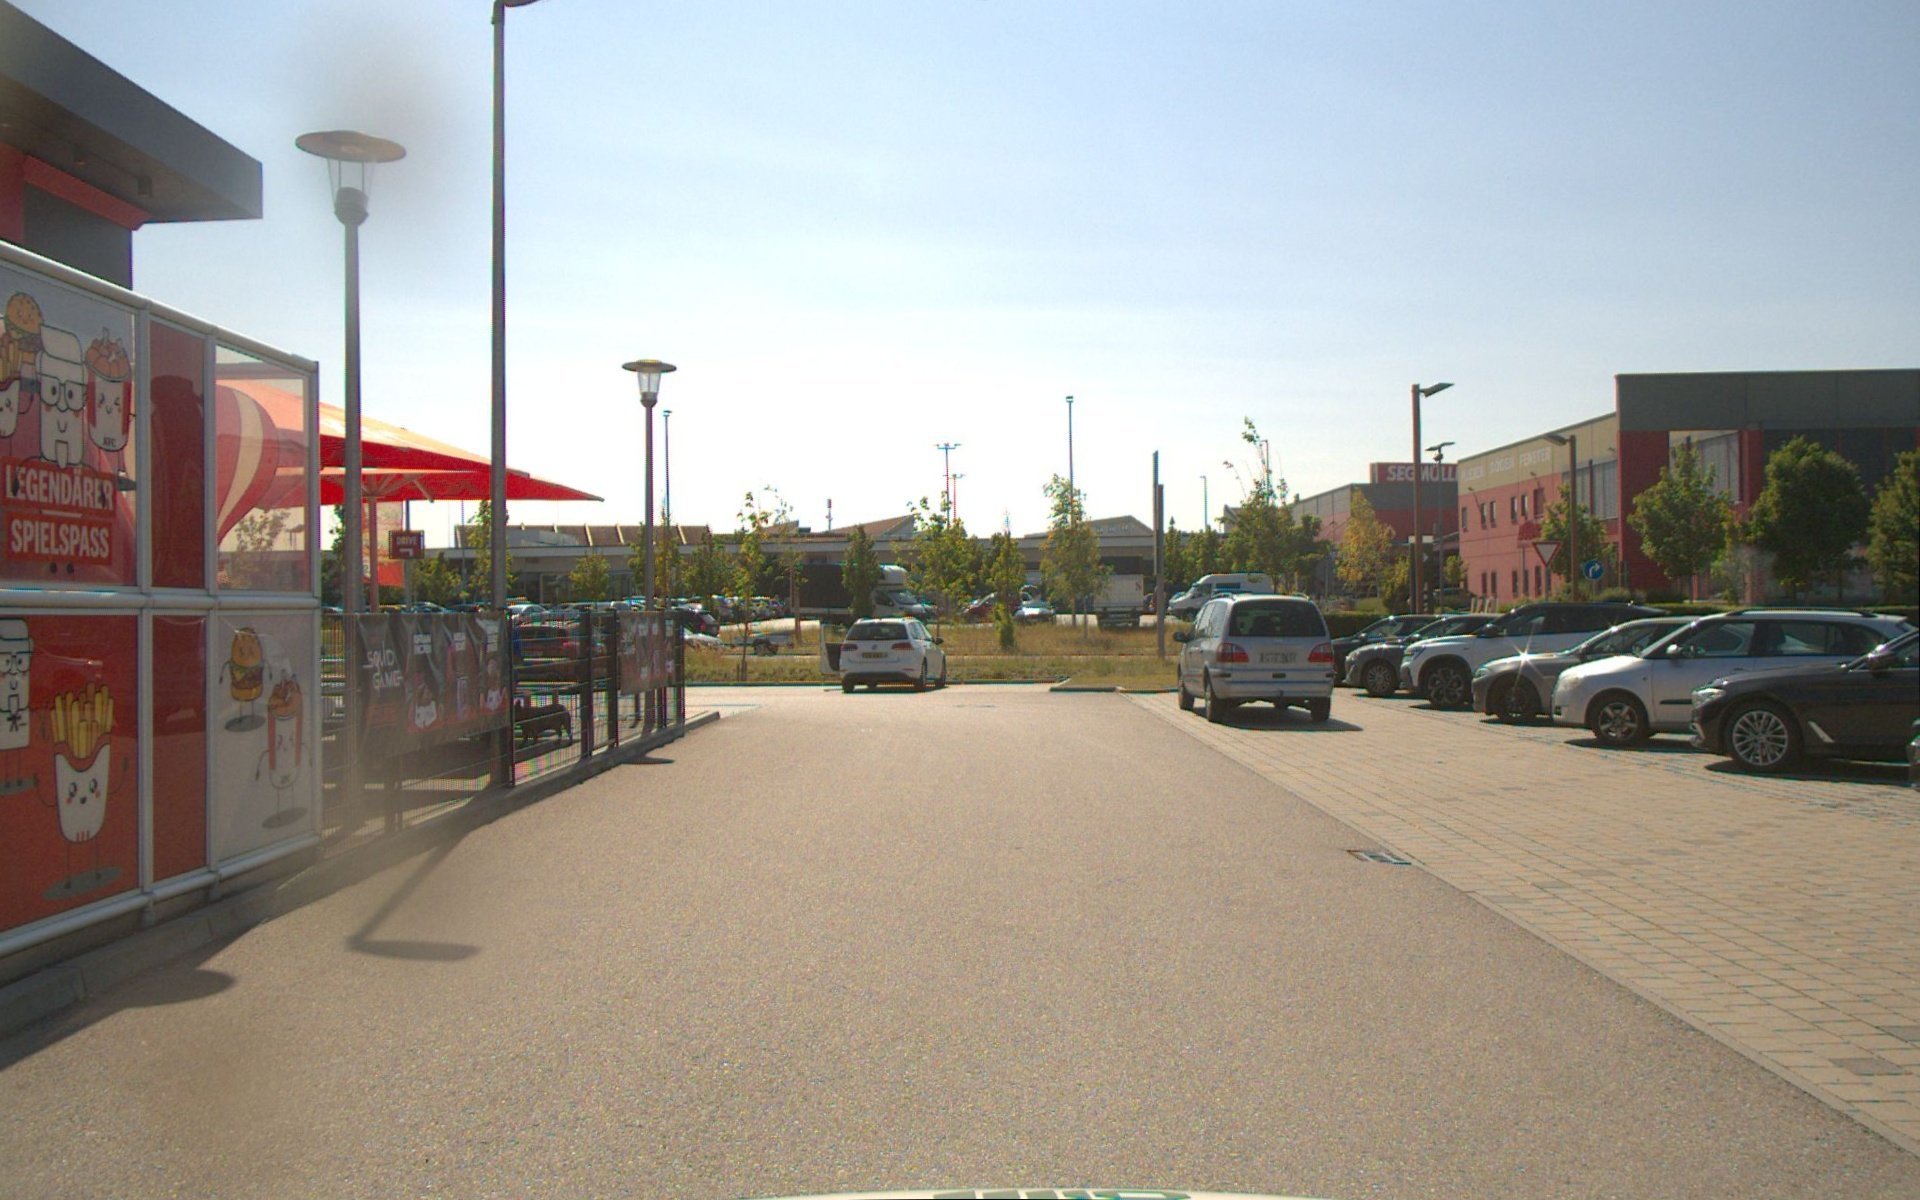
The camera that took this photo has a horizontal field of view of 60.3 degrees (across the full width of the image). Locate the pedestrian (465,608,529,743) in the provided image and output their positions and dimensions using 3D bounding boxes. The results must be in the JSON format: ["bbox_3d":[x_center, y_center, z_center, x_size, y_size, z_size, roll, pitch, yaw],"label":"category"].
[{"bbox_3d":[-4.591,0.733,16.404,0.602,1.296,0.621,0,0,-16],"label":"pedestrian"}]

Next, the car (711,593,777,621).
[{"bbox_3d":[-15.018,0.483,115.126,4.300,1.888,1.955,0,0,0],"label":"car"}]

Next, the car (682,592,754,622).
[{"bbox_3d":[-15.596,0.462,106.696,4.300,1.888,1.955,0,0,0],"label":"car"}]

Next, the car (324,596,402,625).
[{"bbox_3d":[-42.496,0.721,117.902,4.819,2.049,2.080,0,0,-5],"label":"car"}]

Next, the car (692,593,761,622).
[{"bbox_3d":[-15.381,0.468,109.156,4.300,1.888,1.955,0,0,0],"label":"car"}]

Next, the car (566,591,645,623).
[{"bbox_3d":[-21.303,0.397,99.404,4.300,1.888,1.955,0,0,0],"label":"car"}]

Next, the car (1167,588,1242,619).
[{"bbox_3d":[15.002,0.227,101.518,4.300,1.888,1.955,0,0,0],"label":"car"}]

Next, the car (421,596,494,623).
[{"bbox_3d":[-34.906,0.646,115.037,4.465,1.888,1.955,0,0,0],"label":"car"}]

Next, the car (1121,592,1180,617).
[{"bbox_3d":[14.708,0.349,127.667,4.300,1.888,1.955,0,0,0],"label":"car"}]

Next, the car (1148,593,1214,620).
[{"bbox_3d":[15.168,0.442,113.845,4.300,1.888,1.955,0,0,0],"label":"car"}]

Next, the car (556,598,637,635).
[{"bbox_3d":[-18.766,0.829,85.611,1.910,1.888,4.403,0,0,23],"label":"car"}]

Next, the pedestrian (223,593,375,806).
[{"bbox_3d":[-4.537,0.661,11.396,0.649,1.411,0.808,0,0,9],"label":"pedestrian"}]

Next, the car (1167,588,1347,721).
[{"bbox_3d":[4.299,0.752,24.661,1.790,1.779,4.682,-1,0,-1],"label":"car"}]

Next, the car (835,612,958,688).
[{"bbox_3d":[-1.266,1.044,34.910,1.788,1.495,4.485,-1,-1,8],"label":"car"}]

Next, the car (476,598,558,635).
[{"bbox_3d":[-23.217,0.832,86.761,1.953,1.888,4.285,0,0,23],"label":"car"}]

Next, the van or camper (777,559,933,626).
[{"bbox_3d":[-5.260,-0.334,81.659,7.888,3.156,2.412,0,0,34],"label":"van or camper"}]

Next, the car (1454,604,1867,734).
[{"bbox_3d":[9.267,0.836,22.093,4.753,1.553,1.966,0,0,38],"label":"car"}]

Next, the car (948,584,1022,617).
[{"bbox_3d":[1.415,0.026,93.542,4.166,1.888,1.870,0,0,0],"label":"car"}]

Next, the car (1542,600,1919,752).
[{"bbox_3d":[8.889,0.784,18.643,4.115,1.553,1.972,0,0,30],"label":"car"}]

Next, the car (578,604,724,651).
[{"bbox_3d":[-11.649,1.026,62.608,5.097,1.761,1.990,0,0,4],"label":"car"}]

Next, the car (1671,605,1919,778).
[{"bbox_3d":[9.195,0.801,15.007,4.699,1.512,1.963,0,0,43],"label":"car"}]

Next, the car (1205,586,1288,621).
[{"bbox_3d":[15.840,0.201,91.546,4.300,1.888,1.955,0,0,0],"label":"car"}]

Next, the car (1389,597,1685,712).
[{"bbox_3d":[9.046,0.799,25.968,4.115,1.683,1.972,0,0,30],"label":"car"}]

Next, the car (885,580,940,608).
[{"bbox_3d":[-3.524,-0.439,123.299,3.903,2.049,2.001,0,0,3],"label":"car"}]

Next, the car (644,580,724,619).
[{"bbox_3d":[-13.752,-0.007,82.624,1.910,1.888,4.403,0,0,23],"label":"car"}]

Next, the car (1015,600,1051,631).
[{"bbox_3d":[3.576,0.728,80.518,1.615,1.485,3.969,0,0,5],"label":"car"}]

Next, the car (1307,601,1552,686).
[{"bbox_3d":[9.215,0.806,32.675,4.260,1.553,1.962,0,0,44],"label":"car"}]

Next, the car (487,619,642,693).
[{"bbox_3d":[-8.516,1.192,36.010,1.788,1.495,4.356,-1,-1,8],"label":"car"}]

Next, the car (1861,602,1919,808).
[{"bbox_3d":[8.863,0.756,11.516,4.290,1.485,1.826,0,0,41],"label":"car"}]

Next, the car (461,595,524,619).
[{"bbox_3d":[-35.978,0.541,127.463,4.300,1.888,1.955,0,0,0],"label":"car"}]

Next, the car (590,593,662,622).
[{"bbox_3d":[-21.695,0.472,107.551,4.300,1.888,1.955,0,0,0],"label":"car"}]

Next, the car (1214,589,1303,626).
[{"bbox_3d":[15.535,0.370,86.181,4.300,1.888,1.955,0,0,0],"label":"car"}]

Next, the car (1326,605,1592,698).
[{"bbox_3d":[8.844,0.860,29.440,4.124,1.553,1.967,0,0,37],"label":"car"}]

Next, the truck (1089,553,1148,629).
[{"bbox_3d":[7.630,-0.403,79.887,2.701,3.541,6.837,0,0,5],"label":"truck"}]

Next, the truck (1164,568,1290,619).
[{"bbox_3d":[15.202,-0.355,94.361,6.891,2.864,1.955,0,0,0],"label":"truck"}]

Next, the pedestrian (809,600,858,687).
[{"bbox_3d":[-2.710,0.933,35.551,0.970,1.841,0.726,-1,-2,1],"label":"pedestrian"}]

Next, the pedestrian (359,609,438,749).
[{"bbox_3d":[-5.309,0.732,15.660,0.672,1.296,0.549,0,0,-17],"label":"pedestrian"}]

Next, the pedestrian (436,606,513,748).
[{"bbox_3d":[-4.563,0.702,15.568,0.672,1.296,0.838,0,0,-16],"label":"pedestrian"}]

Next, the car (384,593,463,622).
[{"bbox_3d":[-34.723,0.487,107.064,4.465,1.888,1.955,0,0,0],"label":"car"}]
